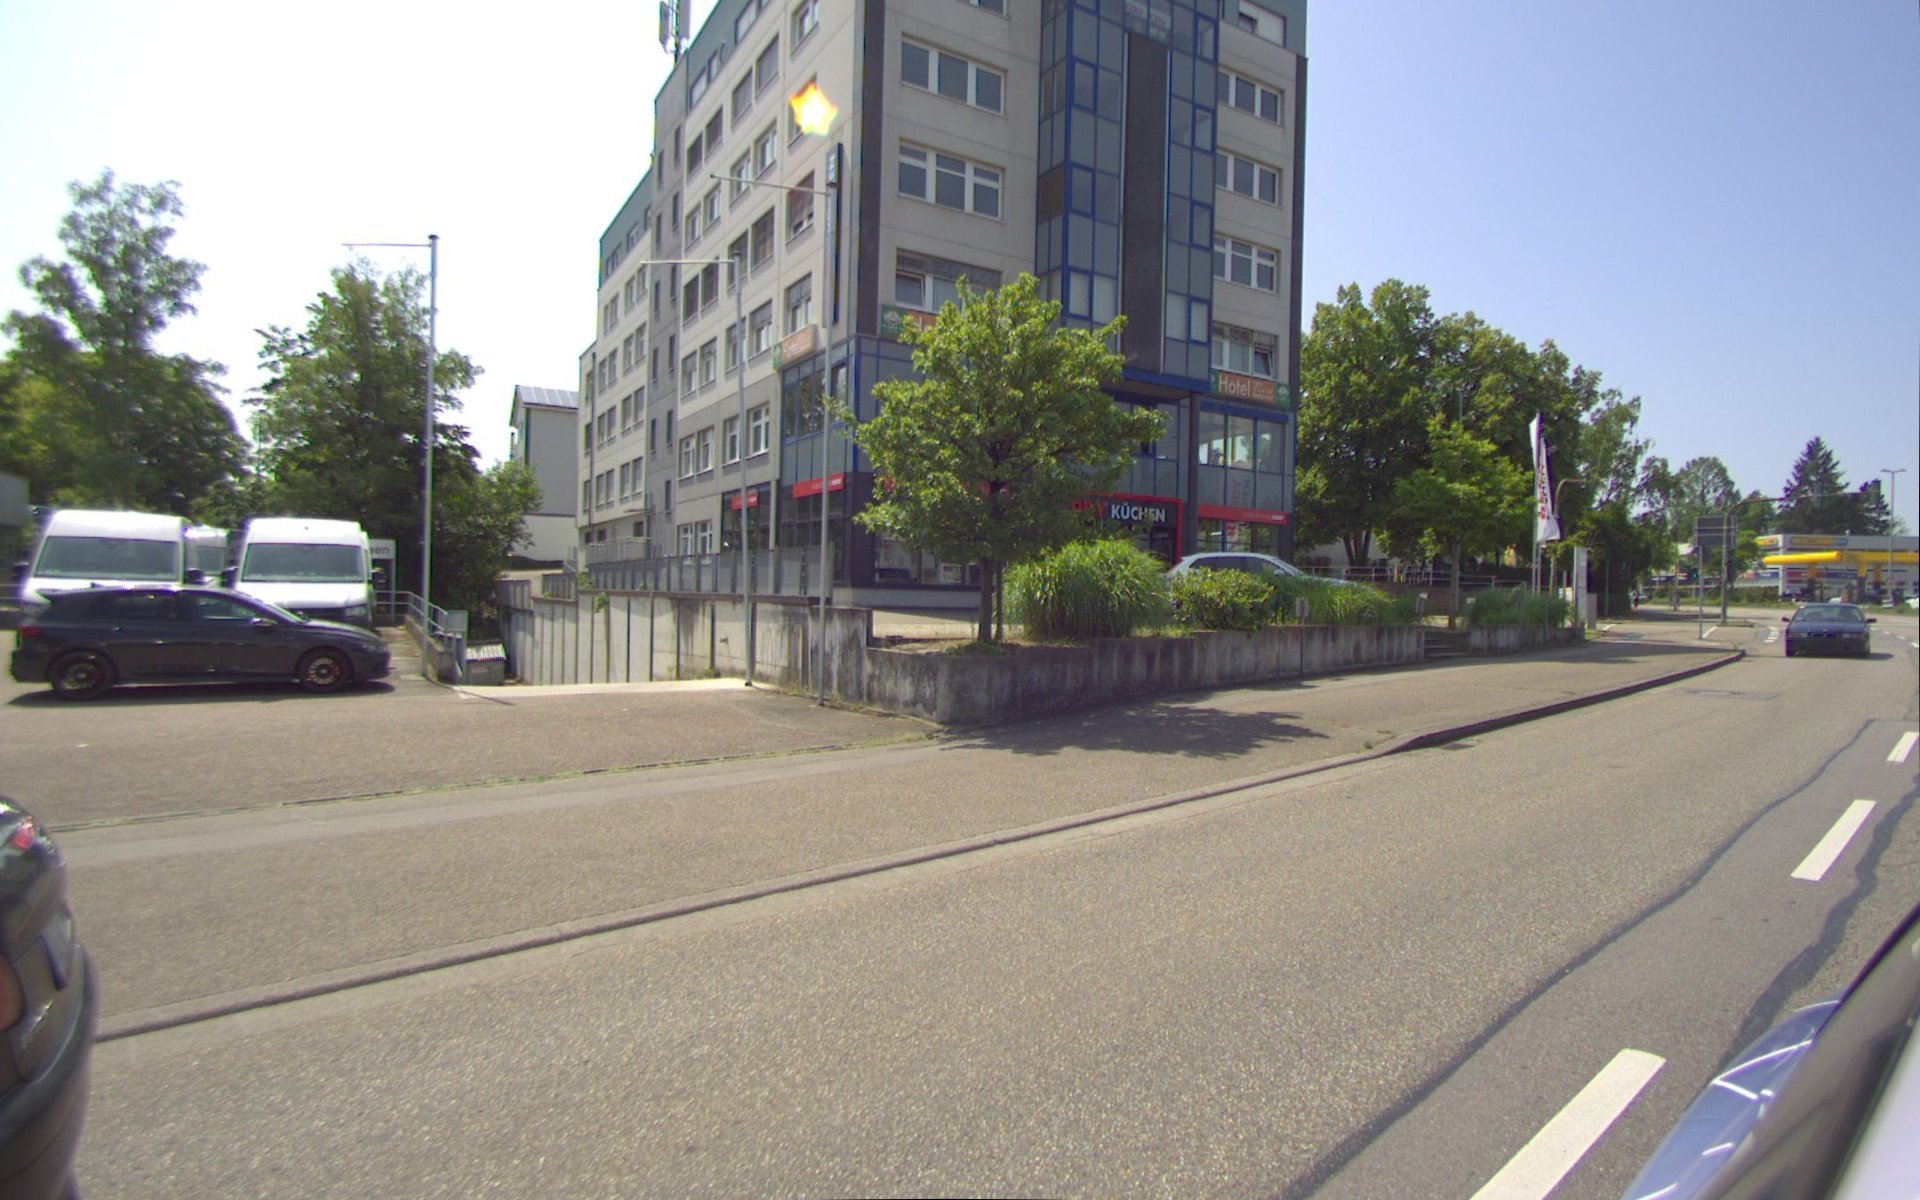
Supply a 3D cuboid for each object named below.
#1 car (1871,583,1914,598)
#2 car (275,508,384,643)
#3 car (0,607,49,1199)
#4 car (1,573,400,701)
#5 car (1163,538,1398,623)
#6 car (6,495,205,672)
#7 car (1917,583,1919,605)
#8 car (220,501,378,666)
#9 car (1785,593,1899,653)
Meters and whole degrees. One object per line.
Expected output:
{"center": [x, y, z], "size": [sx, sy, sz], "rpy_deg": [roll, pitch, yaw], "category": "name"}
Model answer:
{"center": [99.724, -0.995, 108.306], "size": [1.633, 1.562, 4.193], "rpy_deg": [-1, 1, 16], "category": "car"}
{"center": [-15.247, -0.536, 24.351], "size": [1.962, 2.845, 6.137], "rpy_deg": [-1, 1, -34], "category": "car"}
{"center": [-3.311, 0.747, 0.942], "size": [3.597, 1.443, 1.602], "rpy_deg": [0, -2, -41], "category": "car"}
{"center": [-10.373, 0.419, 14.235], "size": [4.234, 1.527, 1.837], "rpy_deg": [-1, 1, -34], "category": "car"}
{"center": [7.120, -0.387, 22.569], "size": [4.698, 1.735, 1.980], "rpy_deg": [-1, 0, 30], "category": "car"}
{"center": [-14.479, -0.257, 17.471], "size": [1.998, 2.568, 5.300], "rpy_deg": [-1, 1, -34], "category": "car"}
{"center": [70.654, -0.422, 72.335], "size": [1.802, 1.590, 4.519], "rpy_deg": [-1, 0, 23], "category": "car"}
{"center": [-12.120, -0.277, 18.688], "size": [2.079, 2.560, 5.907], "rpy_deg": [-1, 1, -32], "category": "car"}
{"center": [23.066, 0.541, 26.435], "size": [3.930, 1.390, 1.696], "rpy_deg": [-1, 1, -40], "category": "car"}
